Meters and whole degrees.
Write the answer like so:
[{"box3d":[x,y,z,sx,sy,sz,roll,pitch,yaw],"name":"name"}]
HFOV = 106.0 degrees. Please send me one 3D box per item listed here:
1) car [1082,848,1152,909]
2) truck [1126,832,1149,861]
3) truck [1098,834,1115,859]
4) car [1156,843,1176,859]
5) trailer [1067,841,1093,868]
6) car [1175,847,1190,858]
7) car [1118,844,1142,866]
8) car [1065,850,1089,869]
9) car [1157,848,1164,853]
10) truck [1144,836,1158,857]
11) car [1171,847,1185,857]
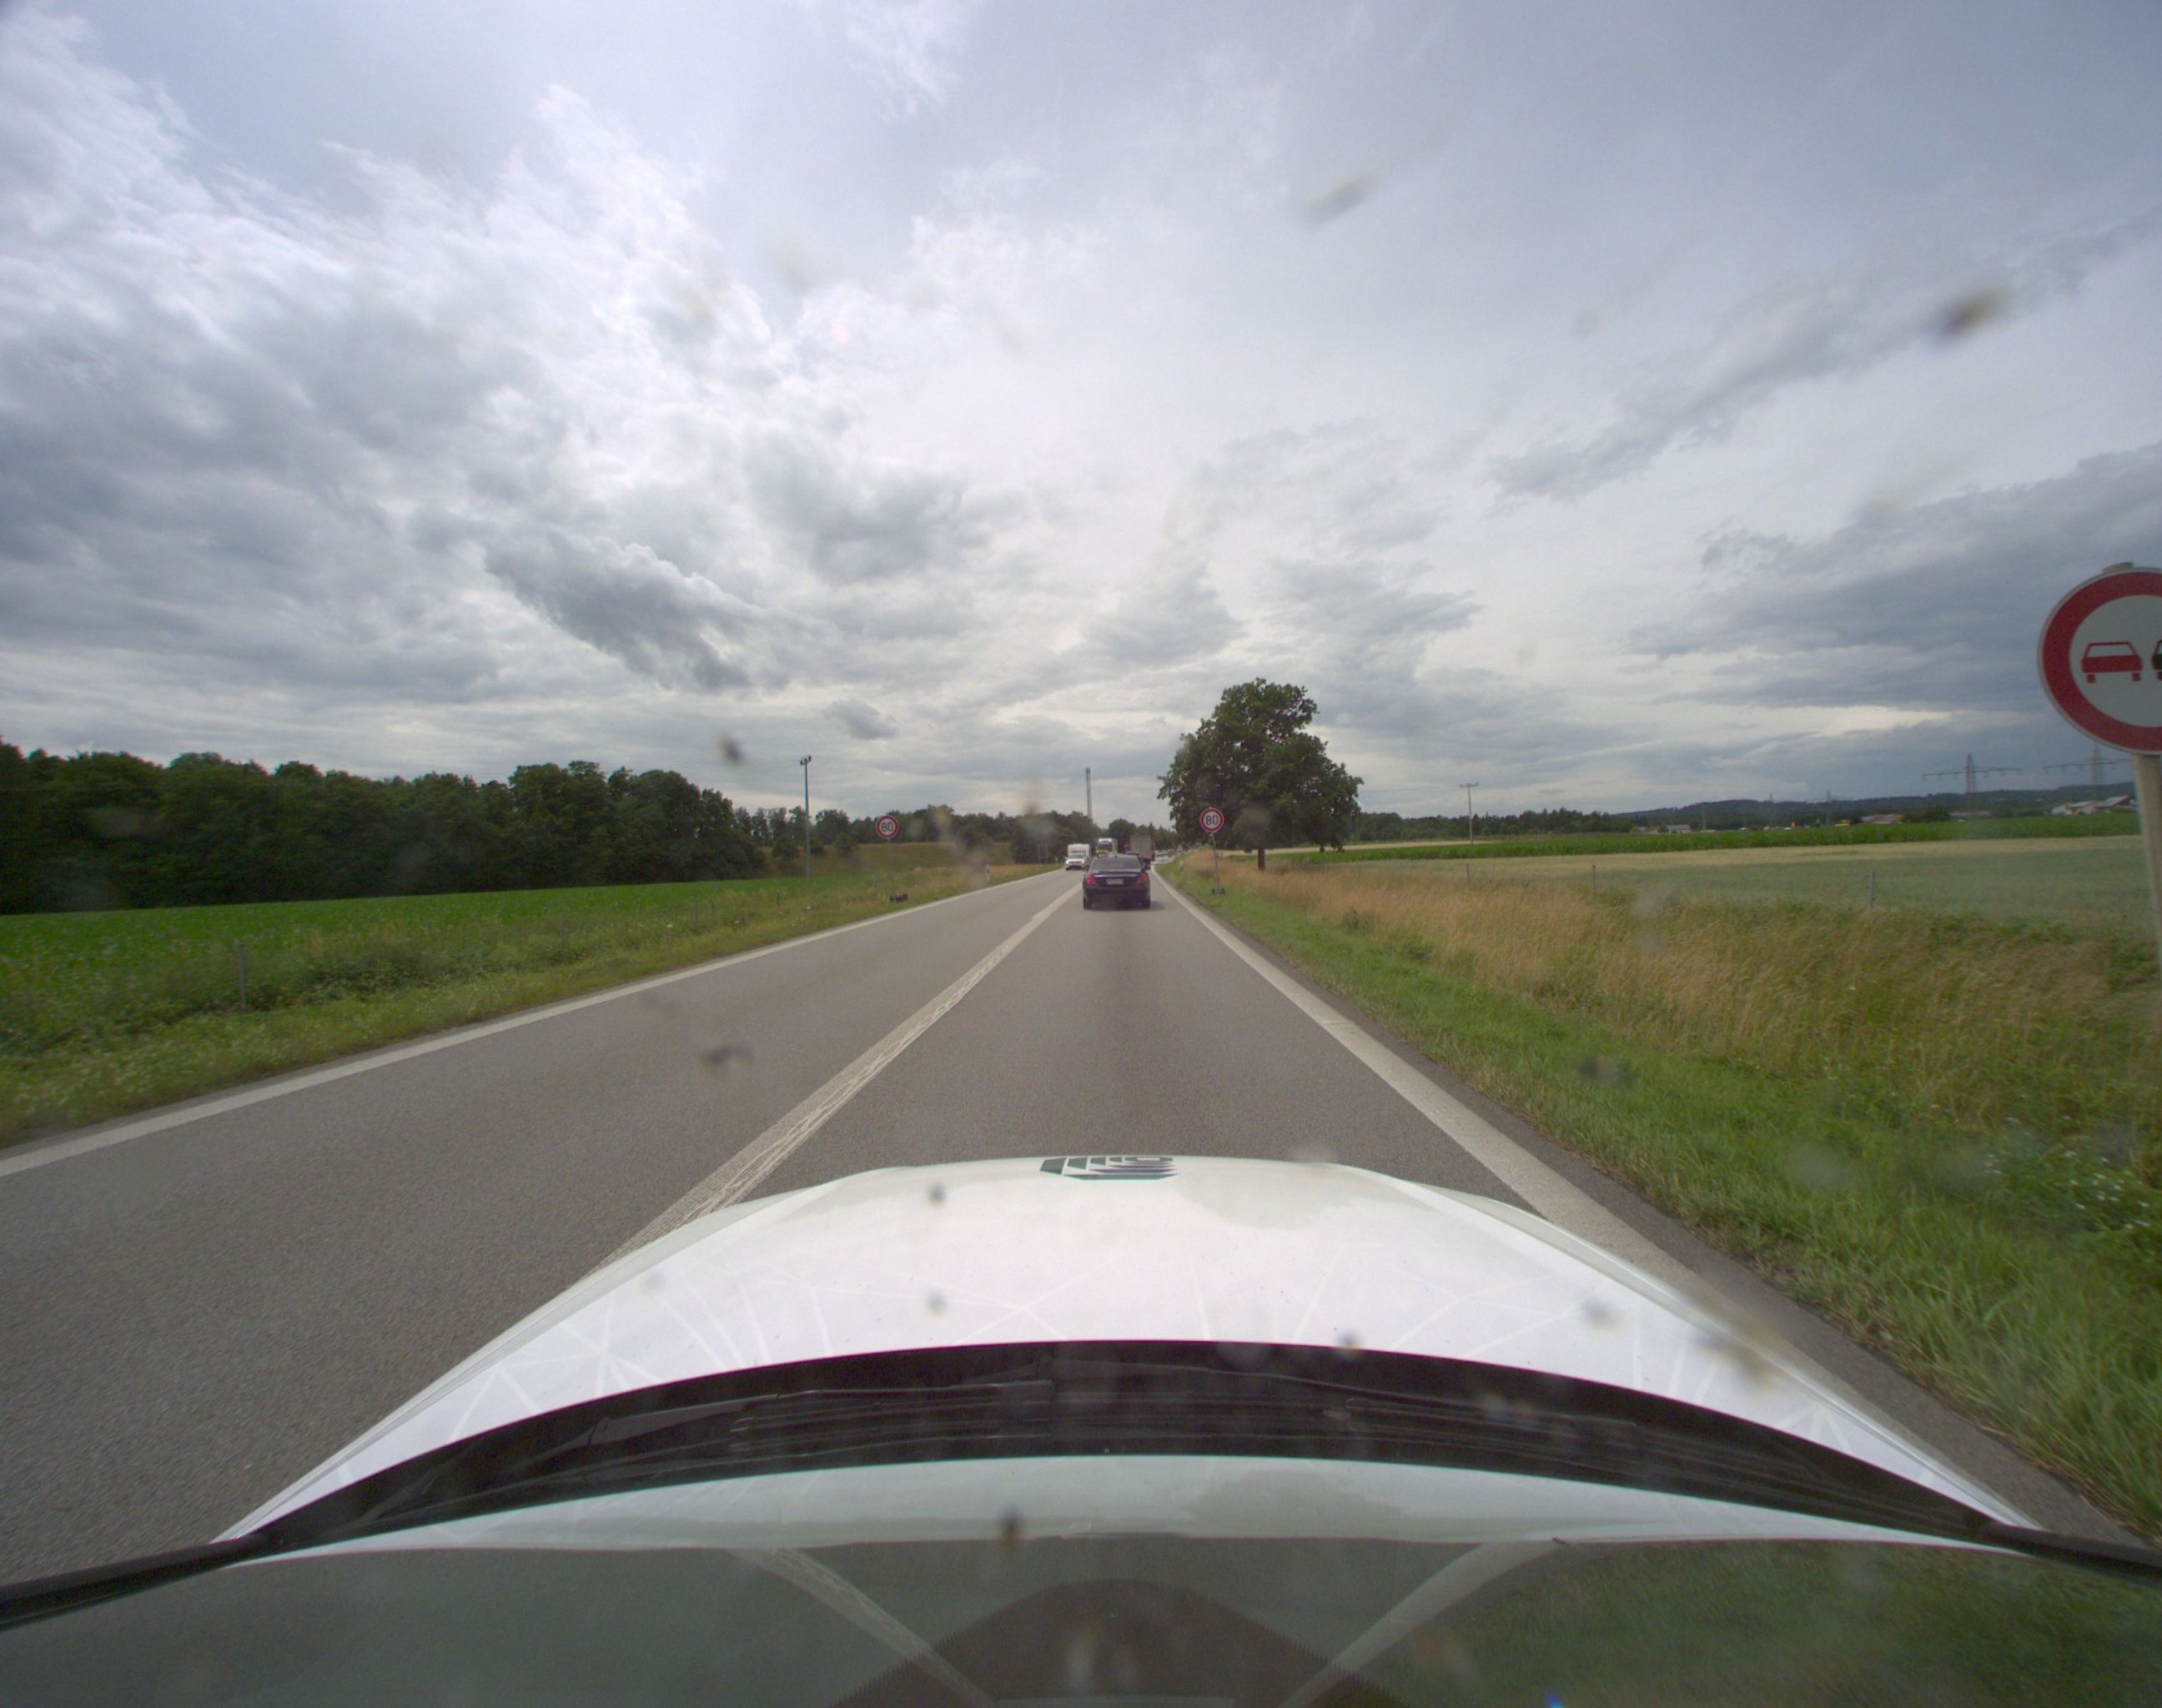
[{"box3d":[0.933,0.640,23.048,1.790,1.560,3.999,-1,0,0],"name":"car"},{"box3d":[7.102,-0.926,101.618,2.573,3.524,4.822,-1,0,7],"name":"truck"},{"box3d":[4.291,-1.305,136.696,2.478,3.995,5.210,-2,0,4],"name":"truck"},{"box3d":[9.563,-0.330,91.801,1.790,1.662,3.999,-1,0,0],"name":"car"},{"box3d":[-0.052,0.082,81.810,2.173,2.575,6.248,-1,0,3],"name":"trailer"},{"box3d":[15.726,-0.281,126.216,1.790,1.662,3.999,-1,0,0],"name":"car"},{"box3d":[4.617,0.135,76.826,1.987,2.014,3.999,-1,0,0],"name":"car"},{"box3d":[-0.370,0.502,76.482,1.998,1.657,4.330,-1,0,3],"name":"car"},{"box3d":[20.751,-0.937,212.009,1.641,1.395,3.710,-1,0,4],"name":"car"},{"box3d":[12.248,-1.325,143.459,1.987,3.525,4.591,-1,0,0],"name":"truck"},{"box3d":[16.604,-0.400,139.481,1.790,1.662,3.999,-1,0,0],"name":"car"}]
